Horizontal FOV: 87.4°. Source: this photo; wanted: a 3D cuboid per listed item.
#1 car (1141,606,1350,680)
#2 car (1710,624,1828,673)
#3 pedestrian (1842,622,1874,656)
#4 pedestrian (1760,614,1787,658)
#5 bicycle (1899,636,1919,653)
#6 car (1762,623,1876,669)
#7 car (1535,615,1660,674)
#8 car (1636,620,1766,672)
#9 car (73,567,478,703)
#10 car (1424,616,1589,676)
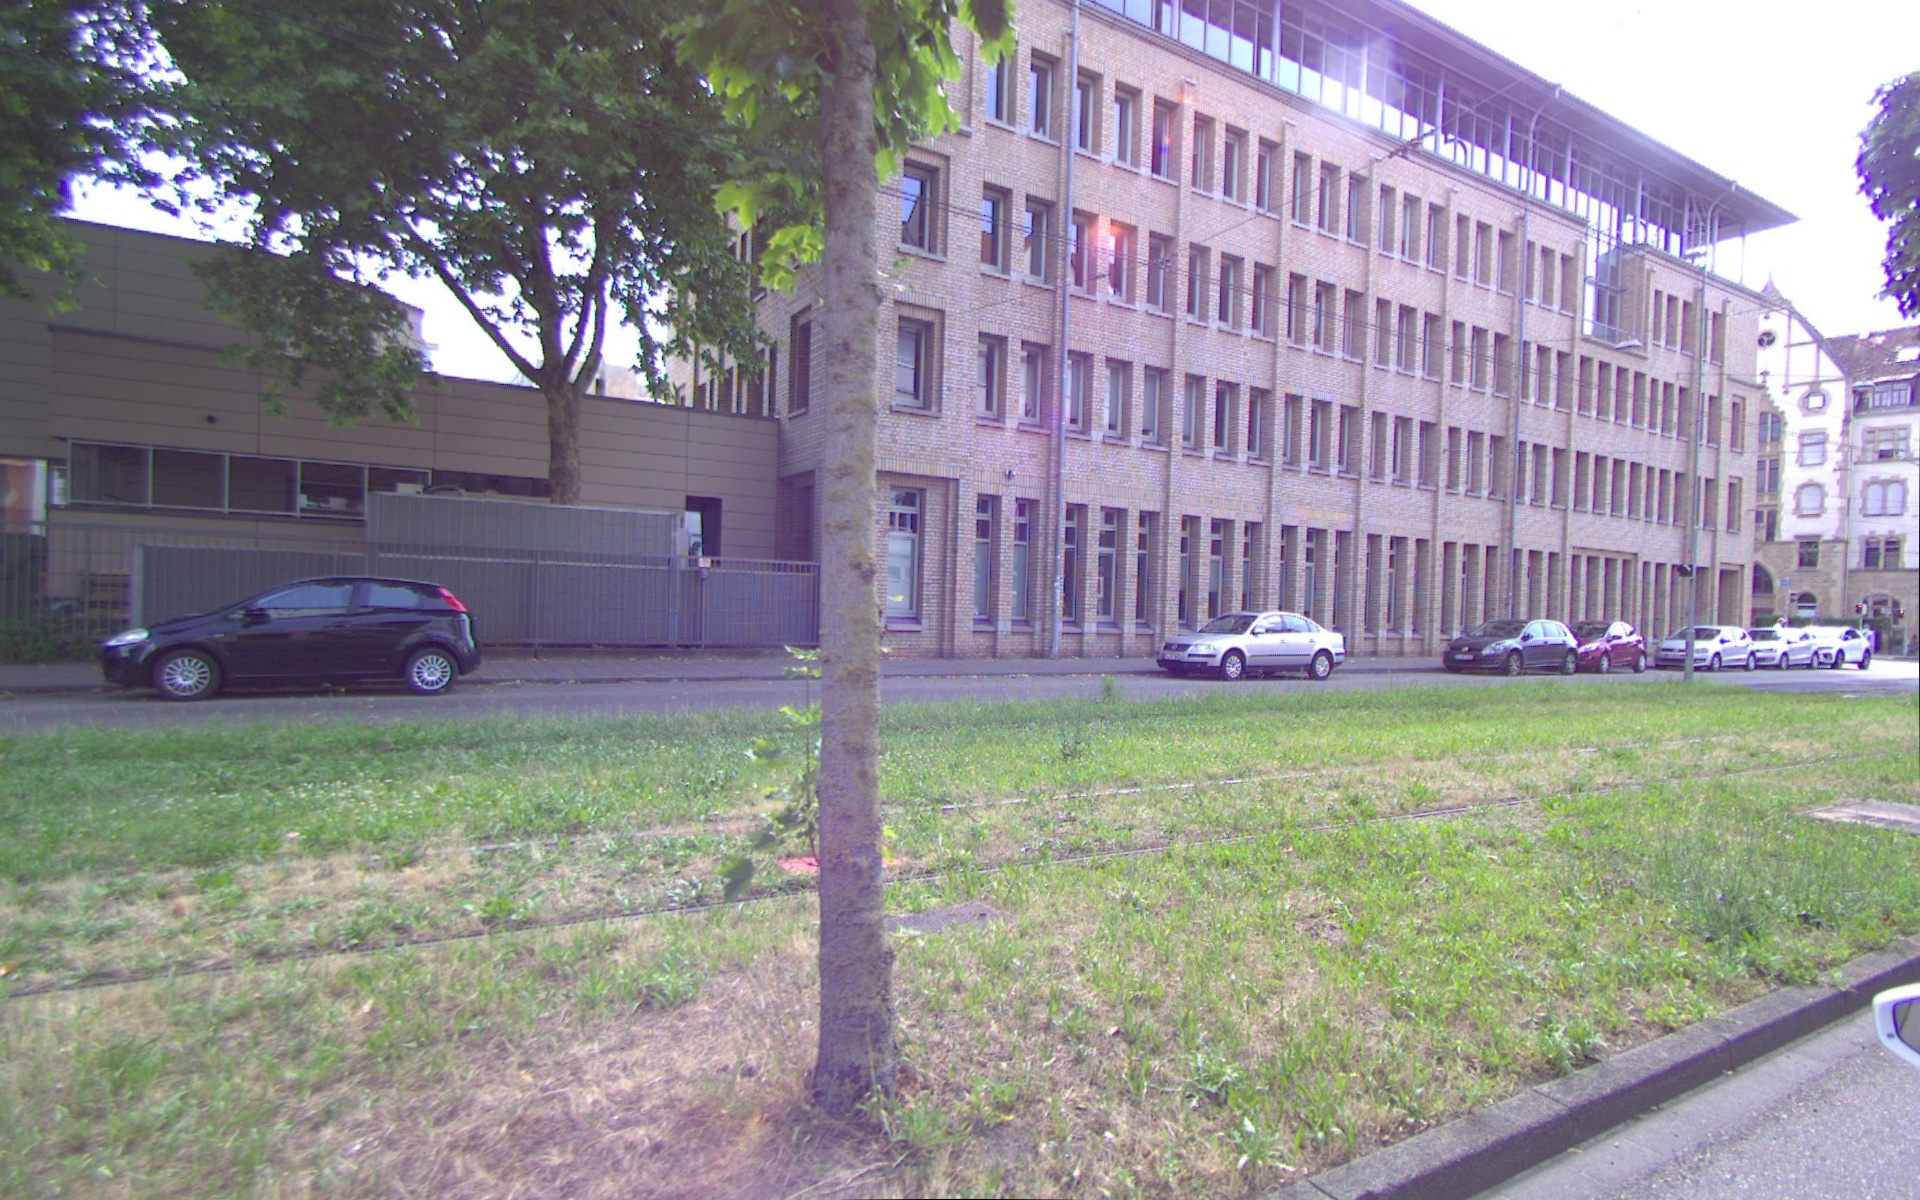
[{"bbox_3d":[6.167,0.911,21.558,4.431,1.415,1.707,2,0,-30],"label":"car"},{"bbox_3d":[28.507,1.699,35.396,3.967,1.551,1.924,2,0,-30],"label":"car"},{"bbox_3d":[48.831,2.115,54.629,1.003,1.745,0.776,2,0,16],"label":"pedestrian"},{"bbox_3d":[34.760,1.540,42.916,0.749,1.819,0.957,2,0,34],"label":"pedestrian"},{"bbox_3d":[61.364,2.865,64.175,0.772,1.095,1.899,2,-1,-40],"label":"bicycle"},{"bbox_3d":[32.171,1.726,37.591,4.207,1.555,1.924,2,0,-30],"label":"car"},{"bbox_3d":[18.455,1.280,29.059,3.507,1.551,1.575,2,0,-30],"label":"car"},{"bbox_3d":[23.964,1.479,32.473,4.160,1.551,1.842,2,0,-30],"label":"car"},{"bbox_3d":[-8.304,0.425,12.661,3.950,1.472,1.795,2,0,-28],"label":"car"},{"bbox_3d":[14.525,1.216,26.671,4.189,1.415,1.924,2,0,-30],"label":"car"}]
